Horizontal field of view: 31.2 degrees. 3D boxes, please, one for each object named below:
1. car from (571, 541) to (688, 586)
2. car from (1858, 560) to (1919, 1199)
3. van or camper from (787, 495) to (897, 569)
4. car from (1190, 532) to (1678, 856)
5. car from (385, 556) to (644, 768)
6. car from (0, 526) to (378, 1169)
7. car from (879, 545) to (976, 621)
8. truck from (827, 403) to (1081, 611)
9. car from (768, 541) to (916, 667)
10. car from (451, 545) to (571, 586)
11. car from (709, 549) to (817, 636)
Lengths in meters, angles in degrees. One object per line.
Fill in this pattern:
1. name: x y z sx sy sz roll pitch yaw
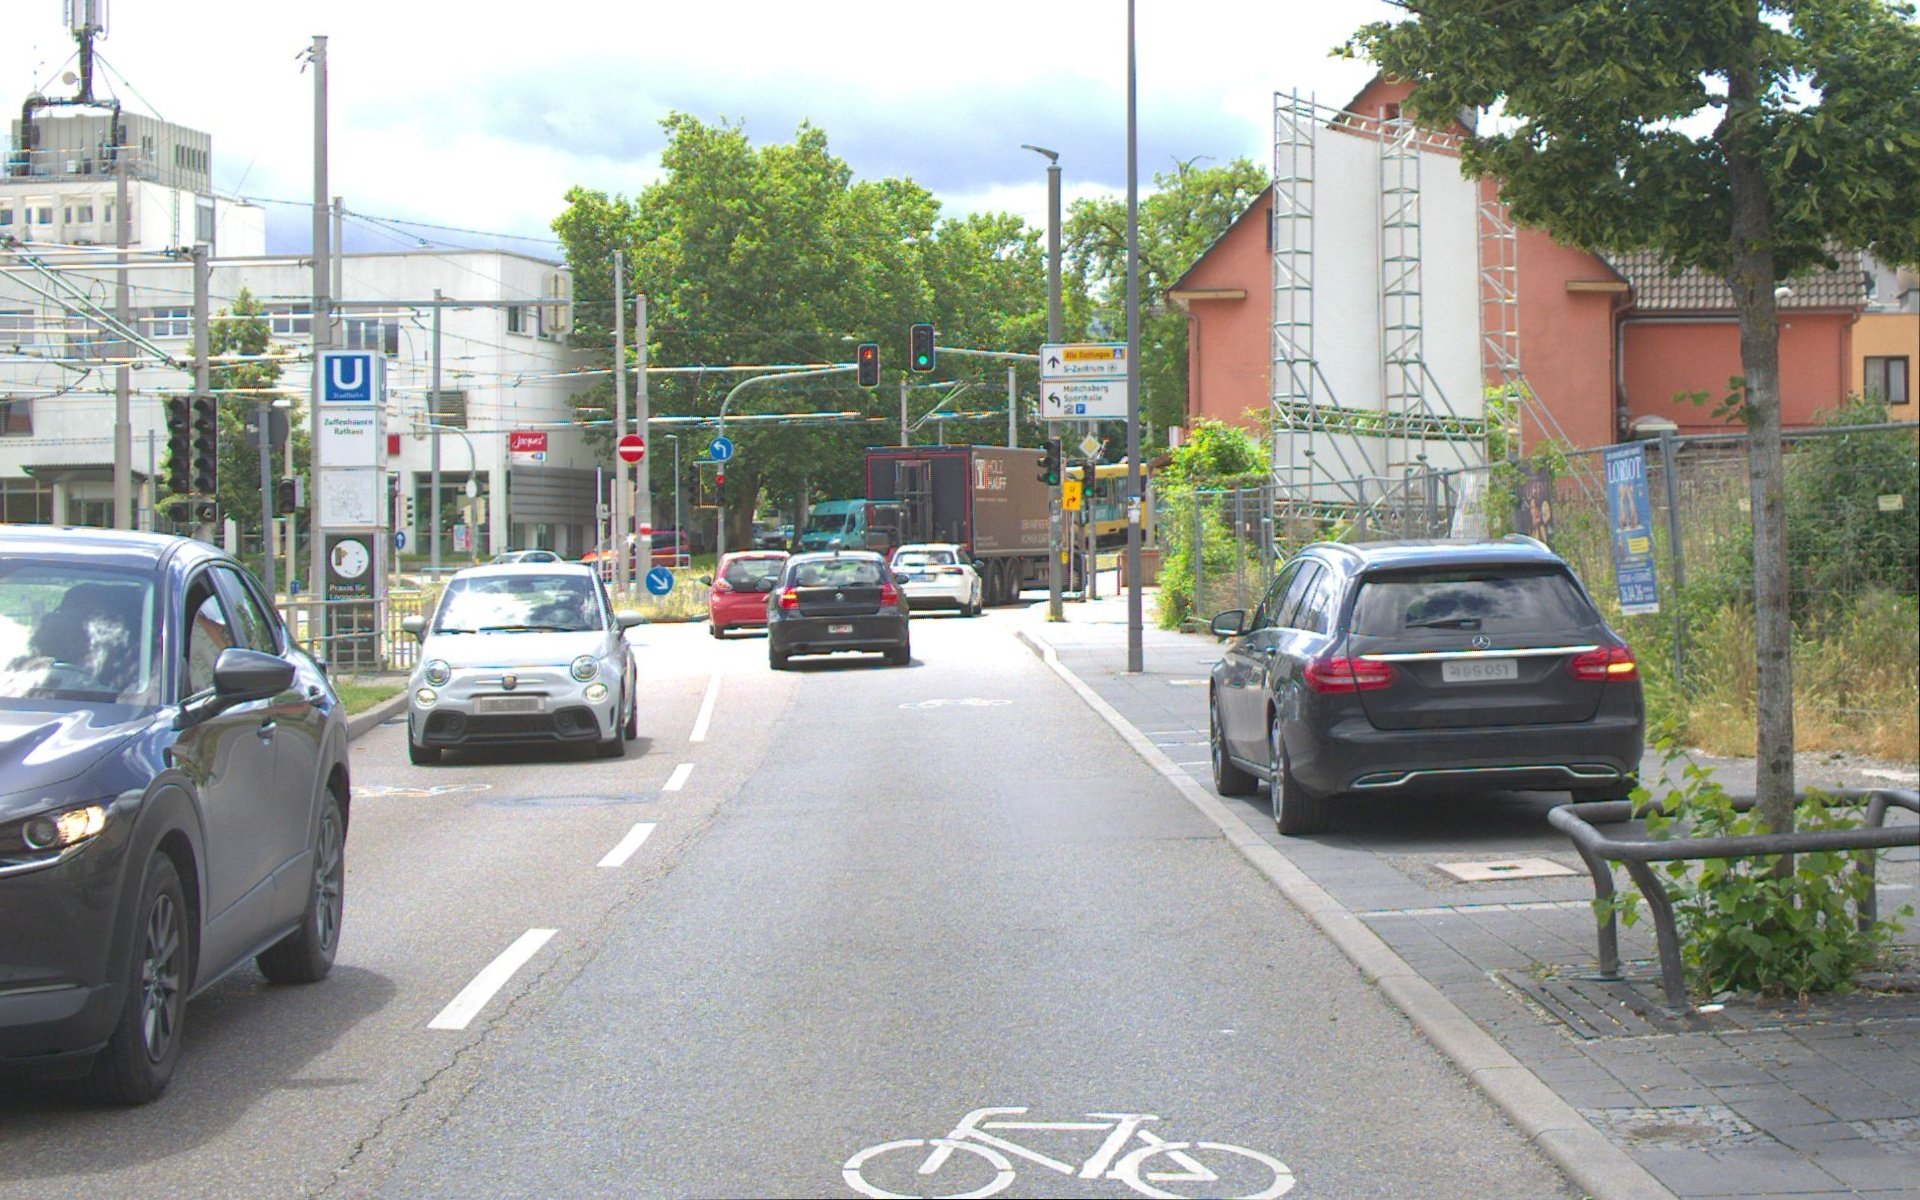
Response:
1. car: -12.391 -1.372 129.165 1.998 1.595 4.190 0 2 39
2. car: 2.534 0.658 3.710 1.865 1.446 4.643 -2 1 0
3. van or camper: -4.862 -2.798 142.954 2.178 2.796 6.062 0 -1 23
4. car: 2.364 0.401 18.262 1.782 1.447 4.476 -2 1 -2
5. car: -3.464 0.428 27.334 1.770 1.503 4.001 -1 1 -4
6. car: -2.953 0.543 10.253 1.724 1.516 4.255 2 1 -1
7. car: -0.662 -0.338 70.135 1.888 1.460 4.069 -1 0 -1
8. truck: 0.007 -2.071 80.894 3.206 4.520 9.020 0 -1 19
9. car: -1.507 0.014 42.740 1.726 1.451 3.809 -1 1 -3
10. car: -16.184 -1.241 124.004 1.998 1.459 3.991 0 1 39
11. car: -3.403 -0.158 58.906 1.711 1.388 3.809 -1 1 -5
